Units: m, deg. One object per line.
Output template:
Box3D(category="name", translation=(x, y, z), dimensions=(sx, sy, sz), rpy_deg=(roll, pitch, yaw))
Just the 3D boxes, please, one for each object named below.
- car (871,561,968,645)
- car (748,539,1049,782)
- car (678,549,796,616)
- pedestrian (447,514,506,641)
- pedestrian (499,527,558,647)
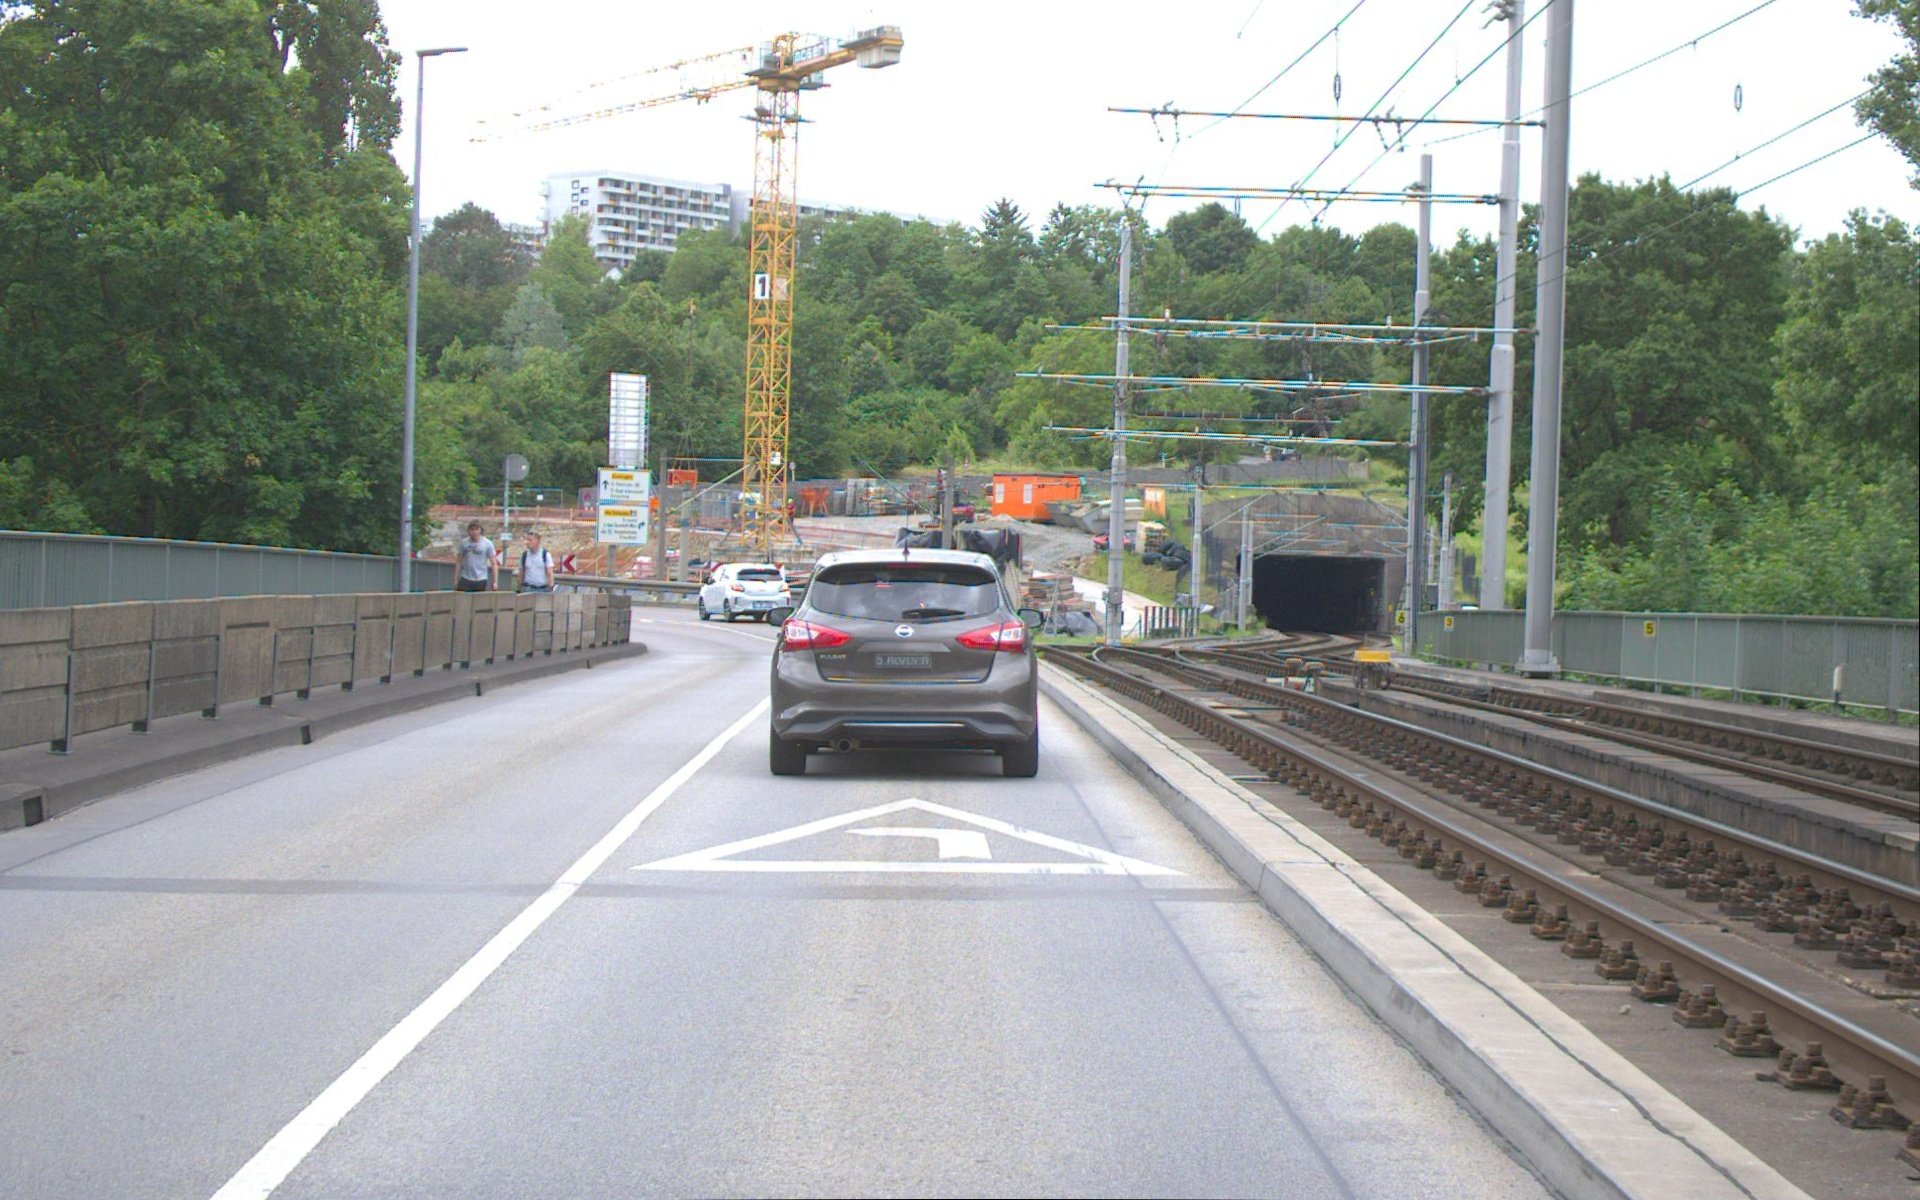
Box3D(category="car", translation=(-0.867, 0.040, 70.895), dimensions=(1.680, 1.601, 4.310), rpy_deg=(1, 1, -4))
Box3D(category="car", translation=(-0.509, 0.363, 23.803), dimensions=(1.829, 1.505, 4.001), rpy_deg=(1, 1, -4))
Box3D(category="car", translation=(-5.747, -0.469, 88.277), dimensions=(1.679, 1.601, 4.310), rpy_deg=(1, 1, -23))
Box3D(category="pedestrian", translation=(-7.068, -0.333, 50.284), dimensions=(0.721, 1.833, 0.723), rpy_deg=(2, 1, -1))
Box3D(category="pedestrian", translation=(-6.172, -0.189, 49.185), dimensions=(0.721, 1.695, 0.723), rpy_deg=(2, 1, -1))
